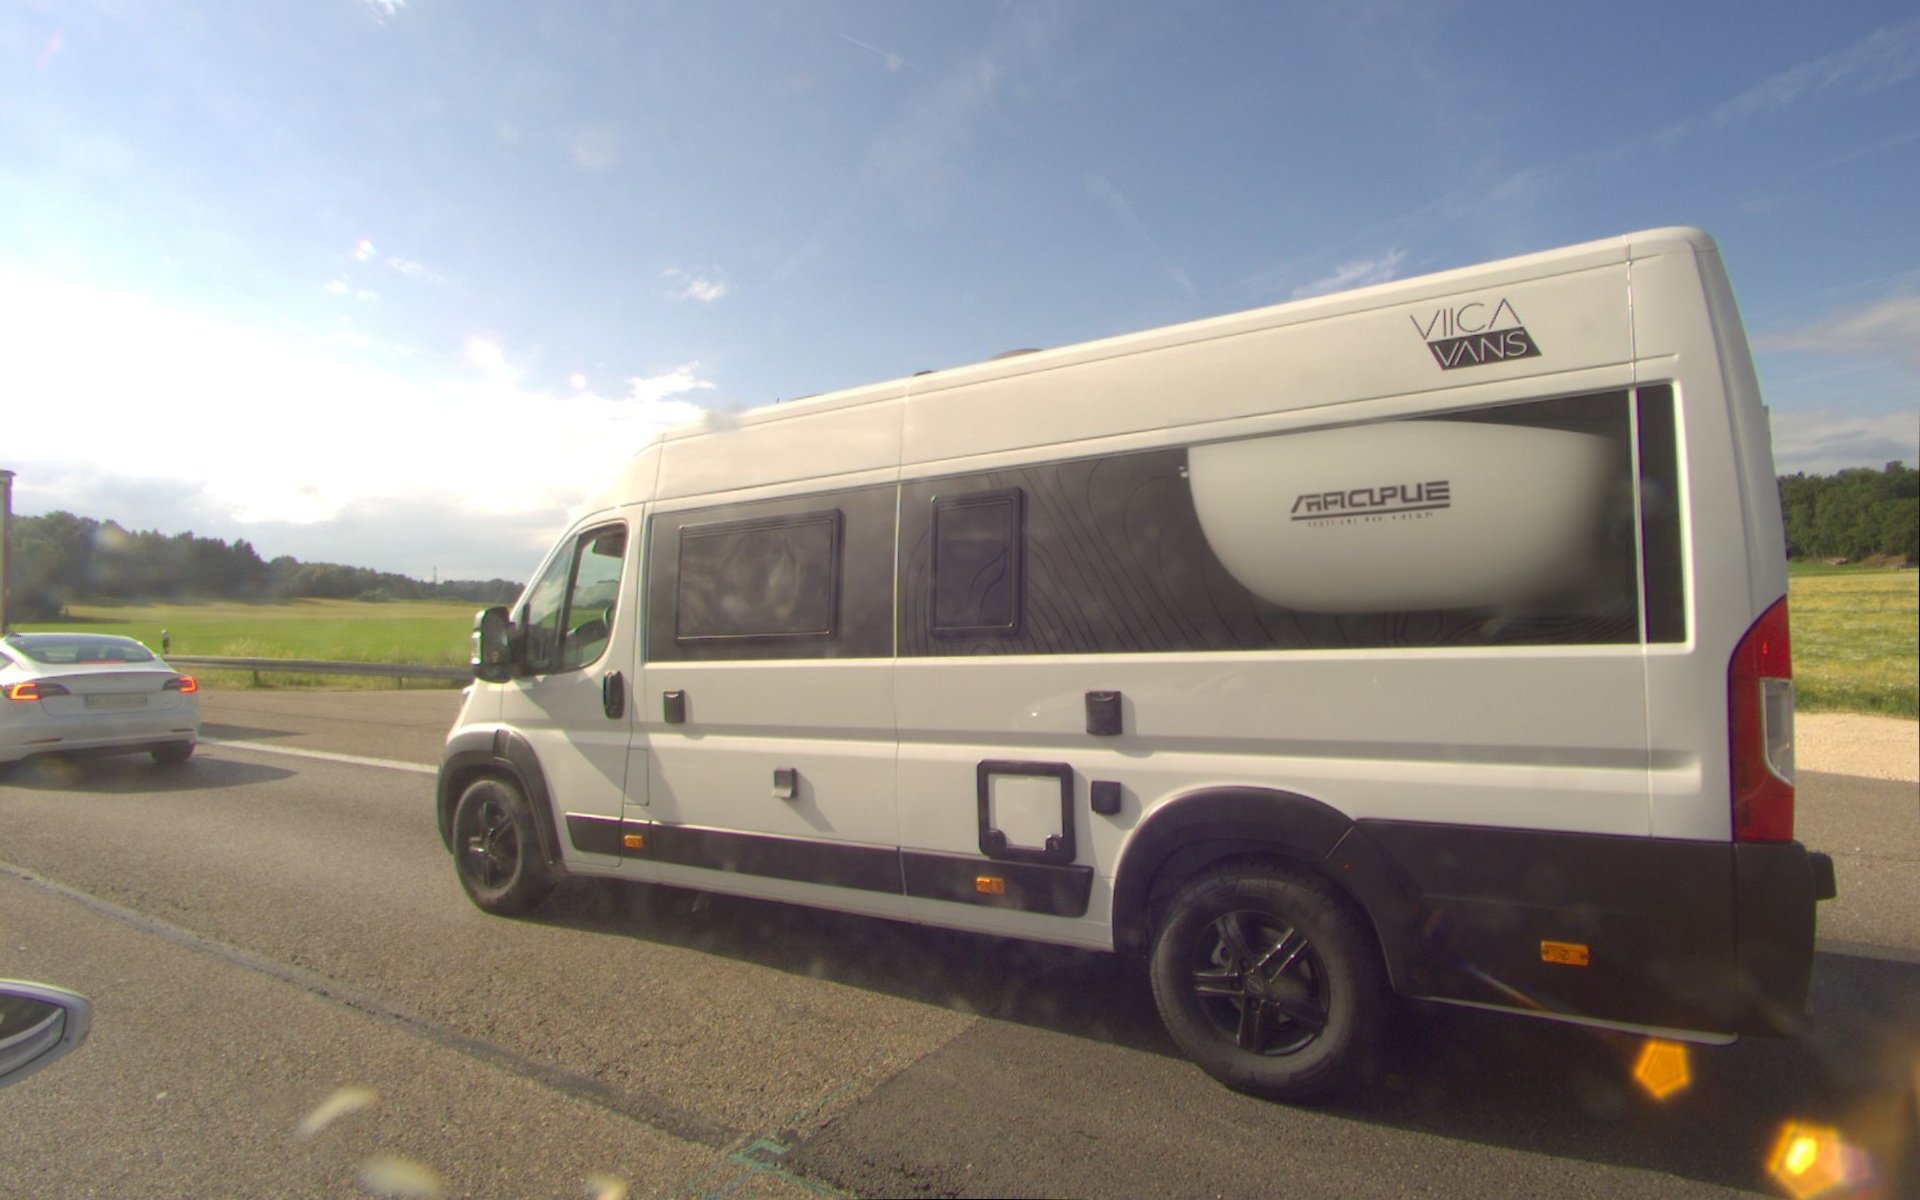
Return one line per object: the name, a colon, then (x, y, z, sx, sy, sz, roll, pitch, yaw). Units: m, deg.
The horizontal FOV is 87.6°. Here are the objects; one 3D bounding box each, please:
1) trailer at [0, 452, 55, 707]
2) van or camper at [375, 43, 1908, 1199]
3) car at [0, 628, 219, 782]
trailer: (-21.276, -0.134, 18.776, 13.181, 4.061, 3.125, -2, -2, 33)
van or camper: (0.001, 0.198, 4.807, 6.241, 2.716, 2.211, -1, -1, 32)
car: (-10.324, 1.022, 11.149, 4.371, 1.412, 1.786, -1, -1, 30)
